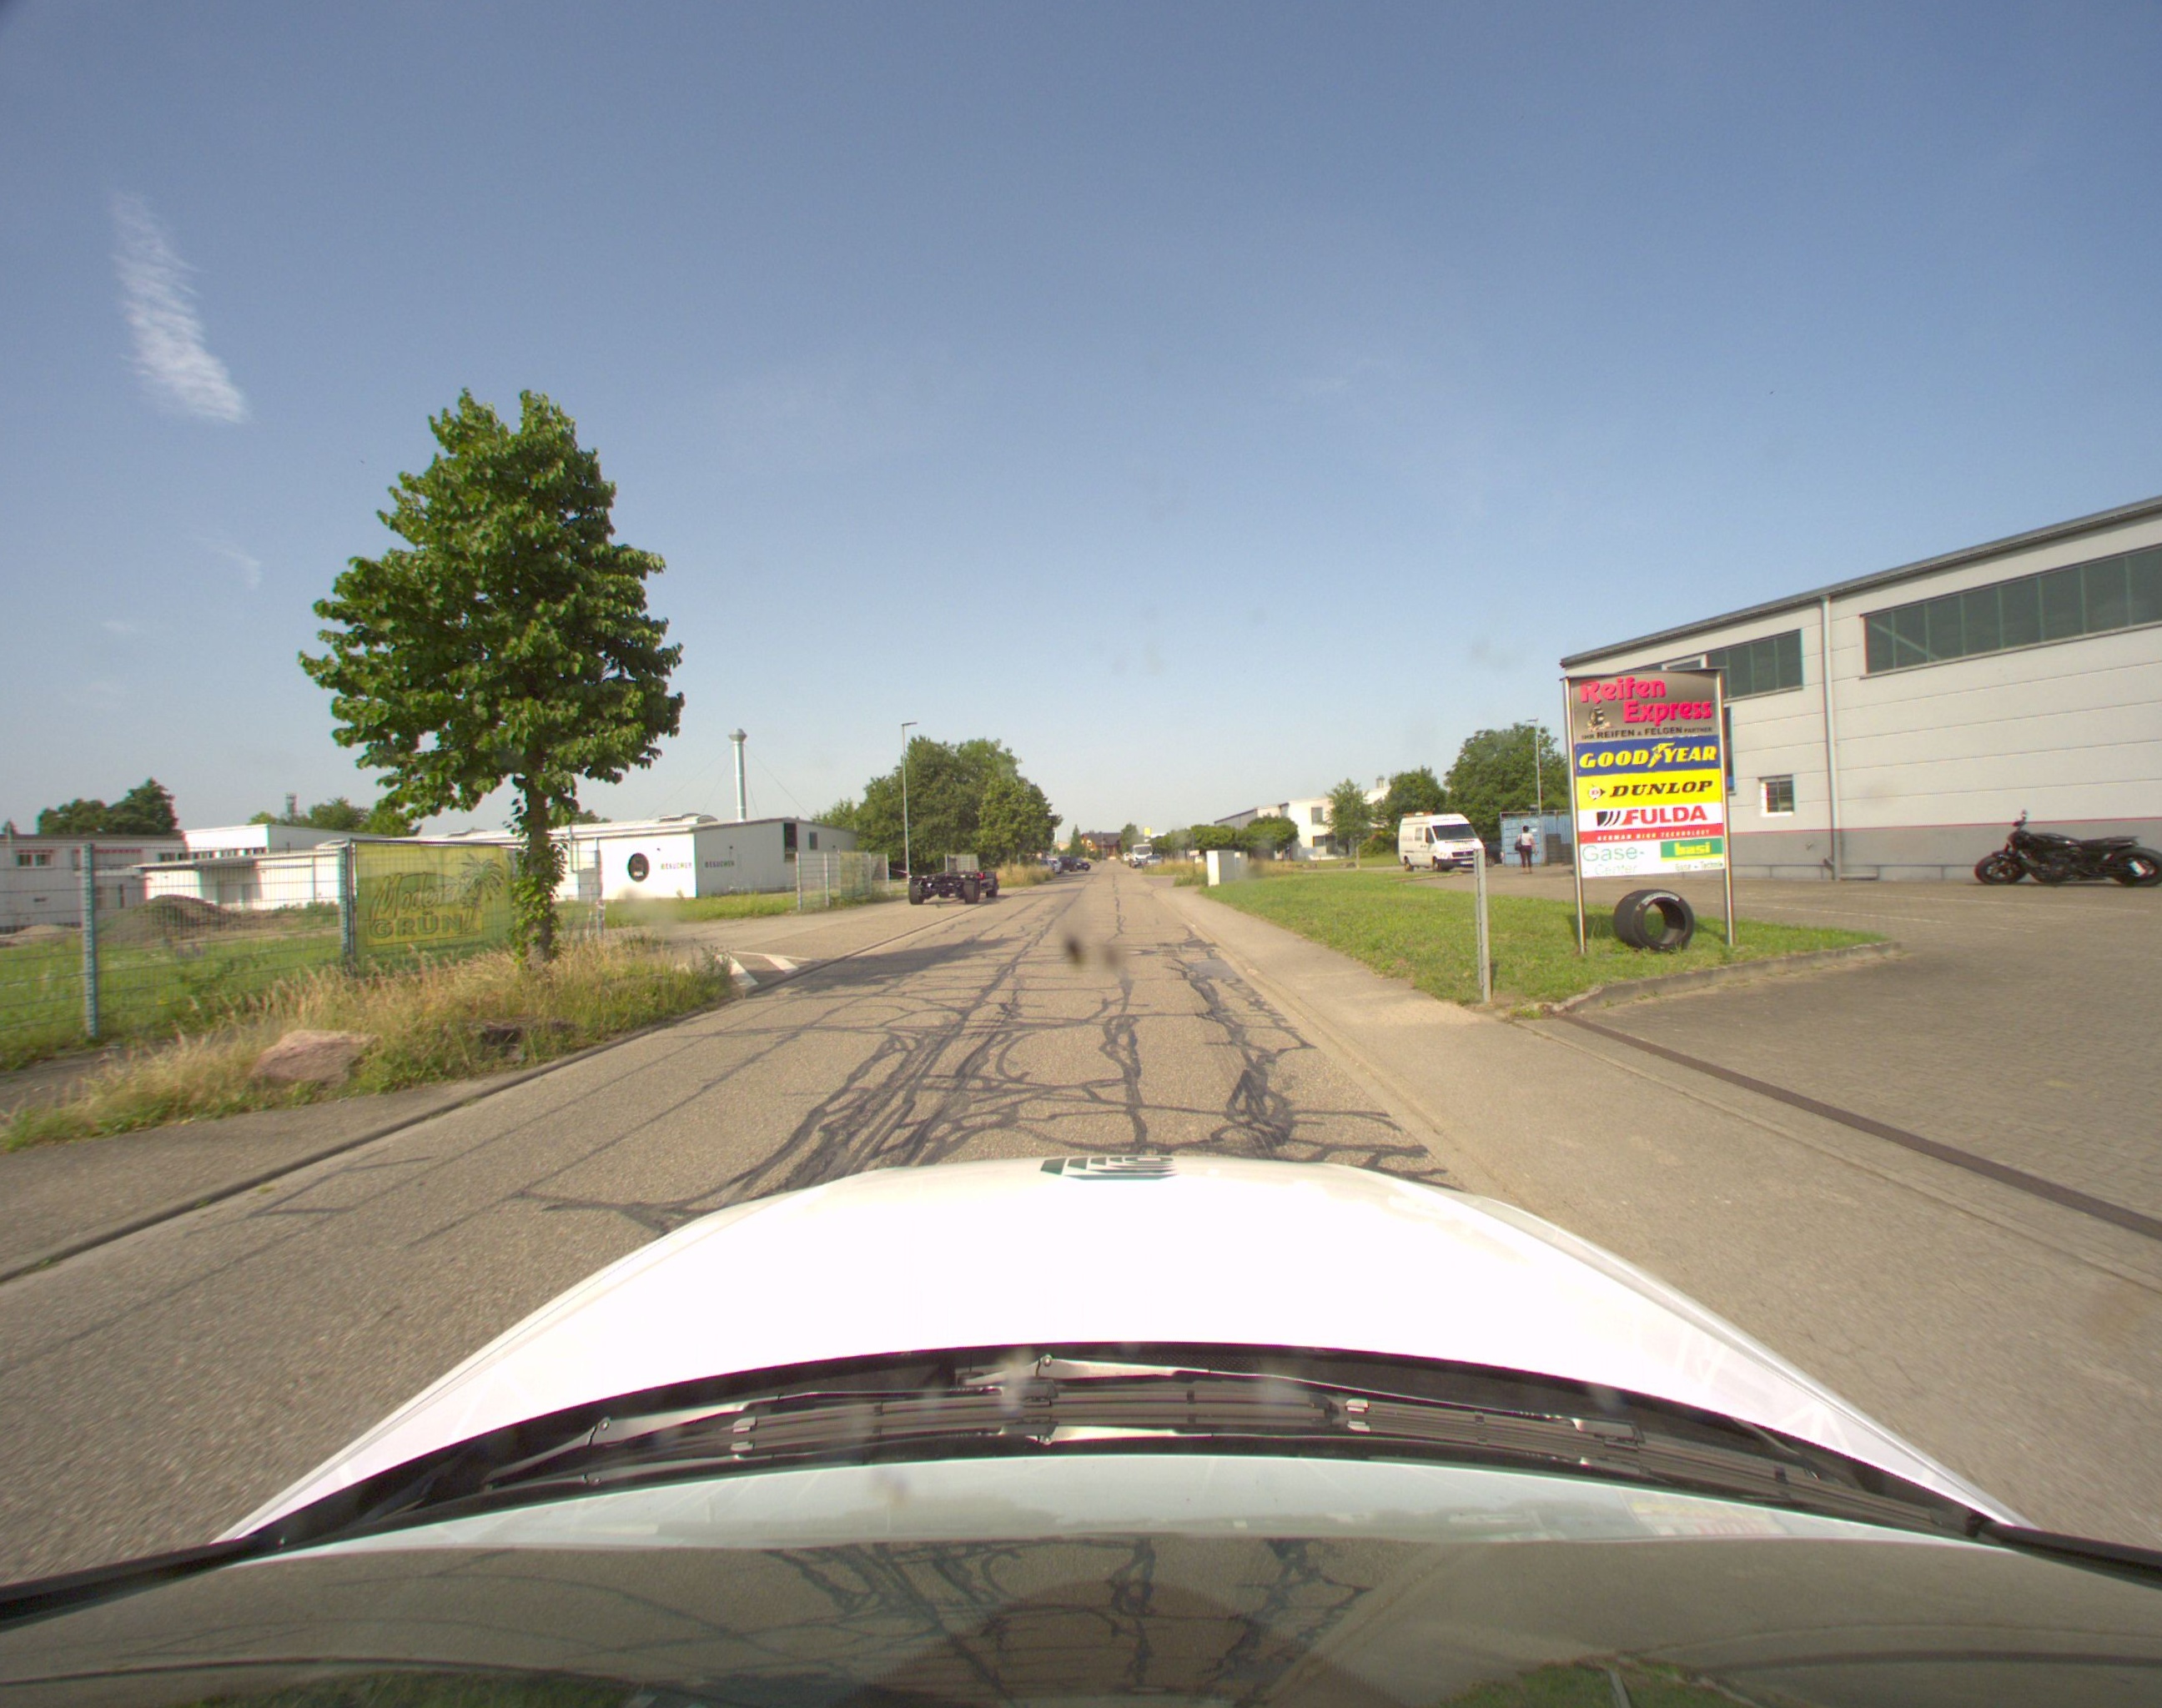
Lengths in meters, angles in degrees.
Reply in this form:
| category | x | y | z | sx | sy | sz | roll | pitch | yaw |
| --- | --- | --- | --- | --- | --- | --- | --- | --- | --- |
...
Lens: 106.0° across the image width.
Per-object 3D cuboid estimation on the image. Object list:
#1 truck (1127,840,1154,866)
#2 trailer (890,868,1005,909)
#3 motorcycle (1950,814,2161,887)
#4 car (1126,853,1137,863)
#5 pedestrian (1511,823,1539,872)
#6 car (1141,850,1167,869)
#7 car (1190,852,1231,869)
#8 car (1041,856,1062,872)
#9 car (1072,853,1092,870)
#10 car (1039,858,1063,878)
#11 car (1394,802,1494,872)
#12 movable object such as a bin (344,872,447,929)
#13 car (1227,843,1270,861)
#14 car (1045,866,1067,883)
| category | x | y | z | sx | sy | sz | roll | pitch | yaw |
| --- | --- | --- | --- | --- | --- | --- | --- | --- | --- |
| truck | 6.652 | -0.099 | 91.906 | 2.353 | 2.681 | 6.507 | -3 | 0 | -1 |
| trailer | -4.839 | 1.215 | 31.521 | 2.573 | 1.184 | 9.367 | -1 | 0 | 2 |
| motorcycle | 16.175 | -0.047 | 13.548 | 0.804 | 1.094 | 2.186 | -3 | 0 | -22 |
| car | 9.580 | 0.751 | 154.090 | 1.830 | 1.924 | 3.758 | -4 | 0 | 2 |
| pedestrian | 15.229 | -0.224 | 27.919 | 0.695 | 1.640 | 0.754 | -3 | 0 | 34 |
| car | 6.072 | 0.437 | 68.124 | 1.787 | 1.517 | 4.426 | -3 | 0 | 2 |
| car | 12.205 | 0.585 | 76.737 | 3.716 | 1.380 | 1.668 | -3 | 0 | -38 |
| car | -2.852 | 0.913 | 79.006 | 1.677 | 1.469 | 4.256 | -1 | 0 | 2 |
| car | 0.167 | 0.845 | 90.541 | 1.848 | 1.714 | 4.229 | -4 | 0 | 3 |
| car | -2.514 | 1.146 | 68.856 | 1.559 | 1.538 | 3.693 | -3 | 0 | 5 |
| car | 15.560 | -0.676 | 35.334 | 1.965 | 2.705 | 5.886 | -3 | 0 | 4 |
| movable object such as a bin | -33.079 | 2.238 | 39.285 | 4.251 | 2.456 | 2.266 | -3 | 0 | 27 |
| car | 16.480 | -0.190 | 80.069 | 4.559 | 1.589 | 1.667 | -3 | 0 | -43 |
| car | -2.234 | 1.830 | 73.527 | 1.572 | 1.443 | 3.967 | -1 | 0 | 3 |
